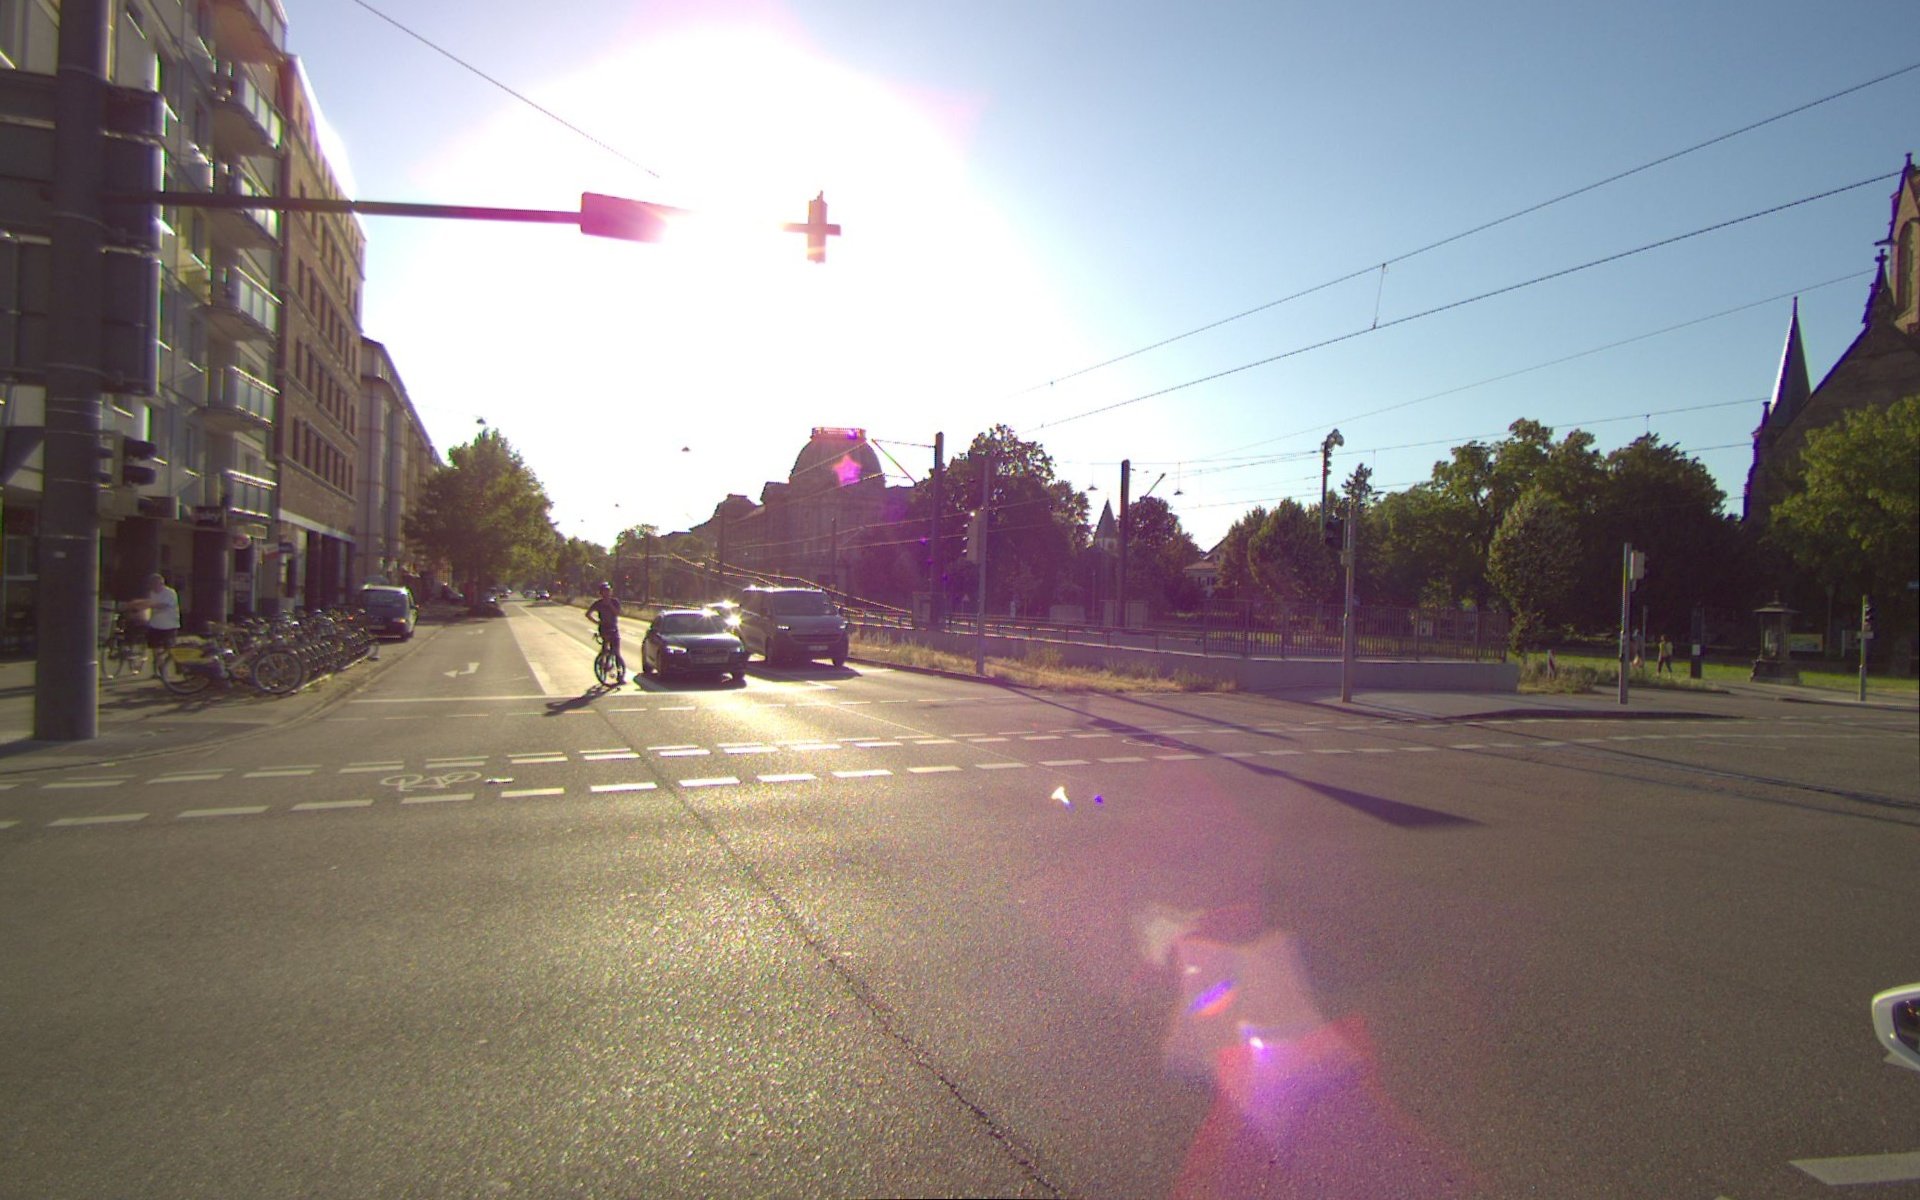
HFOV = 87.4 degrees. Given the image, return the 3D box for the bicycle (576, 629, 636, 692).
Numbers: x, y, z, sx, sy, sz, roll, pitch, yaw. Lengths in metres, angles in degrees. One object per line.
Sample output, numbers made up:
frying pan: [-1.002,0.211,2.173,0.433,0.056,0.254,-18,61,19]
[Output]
bicycle: [-6.778,1.121,19.184,0.938,1.112,1.773,1,-1,-23]

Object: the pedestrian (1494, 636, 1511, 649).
pedestrian: [42.090,3.319,77.963,0.793,0.966,1.167,3,1,45]

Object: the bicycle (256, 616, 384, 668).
bicycle: [-13.961,0.934,21.991,2.268,1.065,0.559,2,0,-25]

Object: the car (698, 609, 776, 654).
car: [-7.747,1.048,34.599,1.777,1.392,3.888,2,-1,-25]

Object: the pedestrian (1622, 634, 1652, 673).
pedestrian: [31.823,2.496,47.227,1.001,1.719,0.840,3,1,40]

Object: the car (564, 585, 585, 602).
car: [-49.963,-0.870,130.158,1.977,2.040,3.968,2,0,-30]

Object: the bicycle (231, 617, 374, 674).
bicycle: [-13.104,0.913,20.106,2.268,1.065,0.732,2,0,-25]

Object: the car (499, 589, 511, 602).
car: [-84.128,-0.862,185.668,1.973,2.274,3.974,2,0,-25]

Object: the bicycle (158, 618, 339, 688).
bicycle: [-11.516,0.869,16.360,2.268,1.065,0.732,2,0,-25]

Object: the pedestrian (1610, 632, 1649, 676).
pedestrian: [27.768,2.238,41.665,0.828,1.719,1.016,2,1,-3]

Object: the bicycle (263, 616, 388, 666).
bicycle: [-14.181,0.926,22.529,2.268,1.065,0.643,2,0,-25]

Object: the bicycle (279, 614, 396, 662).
bicycle: [-14.813,0.920,23.986,2.268,1.065,0.732,2,0,-25]

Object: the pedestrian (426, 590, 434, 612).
pedestrian: [-42.641,0.046,80.756,0.485,1.731,0.546,2,0,-25]

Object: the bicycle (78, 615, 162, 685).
bicycle: [-14.020,0.804,16.824,0.512,1.106,2.054,1,-1,-24]

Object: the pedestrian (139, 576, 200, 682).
pedestrian: [-13.505,0.489,17.170,0.675,1.746,0.606,2,3,-25]

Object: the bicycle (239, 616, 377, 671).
bicycle: [-13.464,0.912,20.832,2.268,1.065,0.732,2,0,-25]

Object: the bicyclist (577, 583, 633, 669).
bicyclist: [-6.860,0.500,19.395,0.949,1.619,0.734,1,-1,-24]

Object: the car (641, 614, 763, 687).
car: [-5.676,1.041,21.762,1.777,1.330,4.174,2,-1,-25]

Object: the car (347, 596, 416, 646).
car: [-19.226,0.654,33.514,1.674,1.528,3.974,2,-1,-26]

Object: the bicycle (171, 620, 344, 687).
bicycle: [-11.865,0.909,17.071,2.268,1.065,0.732,2,0,-25]

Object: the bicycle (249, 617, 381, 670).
bicycle: [-13.724,0.934,21.452,2.268,1.065,0.559,2,0,-25]

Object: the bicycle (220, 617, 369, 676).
bicycle: [-12.781,0.901,19.372,2.268,1.065,0.732,2,0,-25]

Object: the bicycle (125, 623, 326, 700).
bicycle: [-10.813,0.907,14.904,2.268,1.065,0.732,2,0,-25]

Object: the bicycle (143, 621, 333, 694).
bicycle: [-11.158,0.898,15.632,2.268,1.065,0.732,2,0,-25]

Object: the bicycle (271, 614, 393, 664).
bicycle: [-14.487,0.909,23.254,2.268,1.065,0.732,2,0,-25]

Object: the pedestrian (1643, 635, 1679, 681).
pedestrian: [27.534,2.257,39.465,0.696,1.719,0.895,2,1,-3]

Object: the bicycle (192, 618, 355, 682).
bicycle: [-12.187,0.905,17.925,2.268,1.065,0.732,2,0,-25]

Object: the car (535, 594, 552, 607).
car: [-67.277,0.035,162.148,1.977,2.040,3.968,2,0,-30]

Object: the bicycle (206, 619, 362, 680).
bicycle: [-12.495,0.922,18.654,2.268,1.065,0.732,2,0,-25]

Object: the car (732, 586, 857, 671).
car: [-4.545,0.711,26.868,1.973,2.040,4.907,2,0,-25]
